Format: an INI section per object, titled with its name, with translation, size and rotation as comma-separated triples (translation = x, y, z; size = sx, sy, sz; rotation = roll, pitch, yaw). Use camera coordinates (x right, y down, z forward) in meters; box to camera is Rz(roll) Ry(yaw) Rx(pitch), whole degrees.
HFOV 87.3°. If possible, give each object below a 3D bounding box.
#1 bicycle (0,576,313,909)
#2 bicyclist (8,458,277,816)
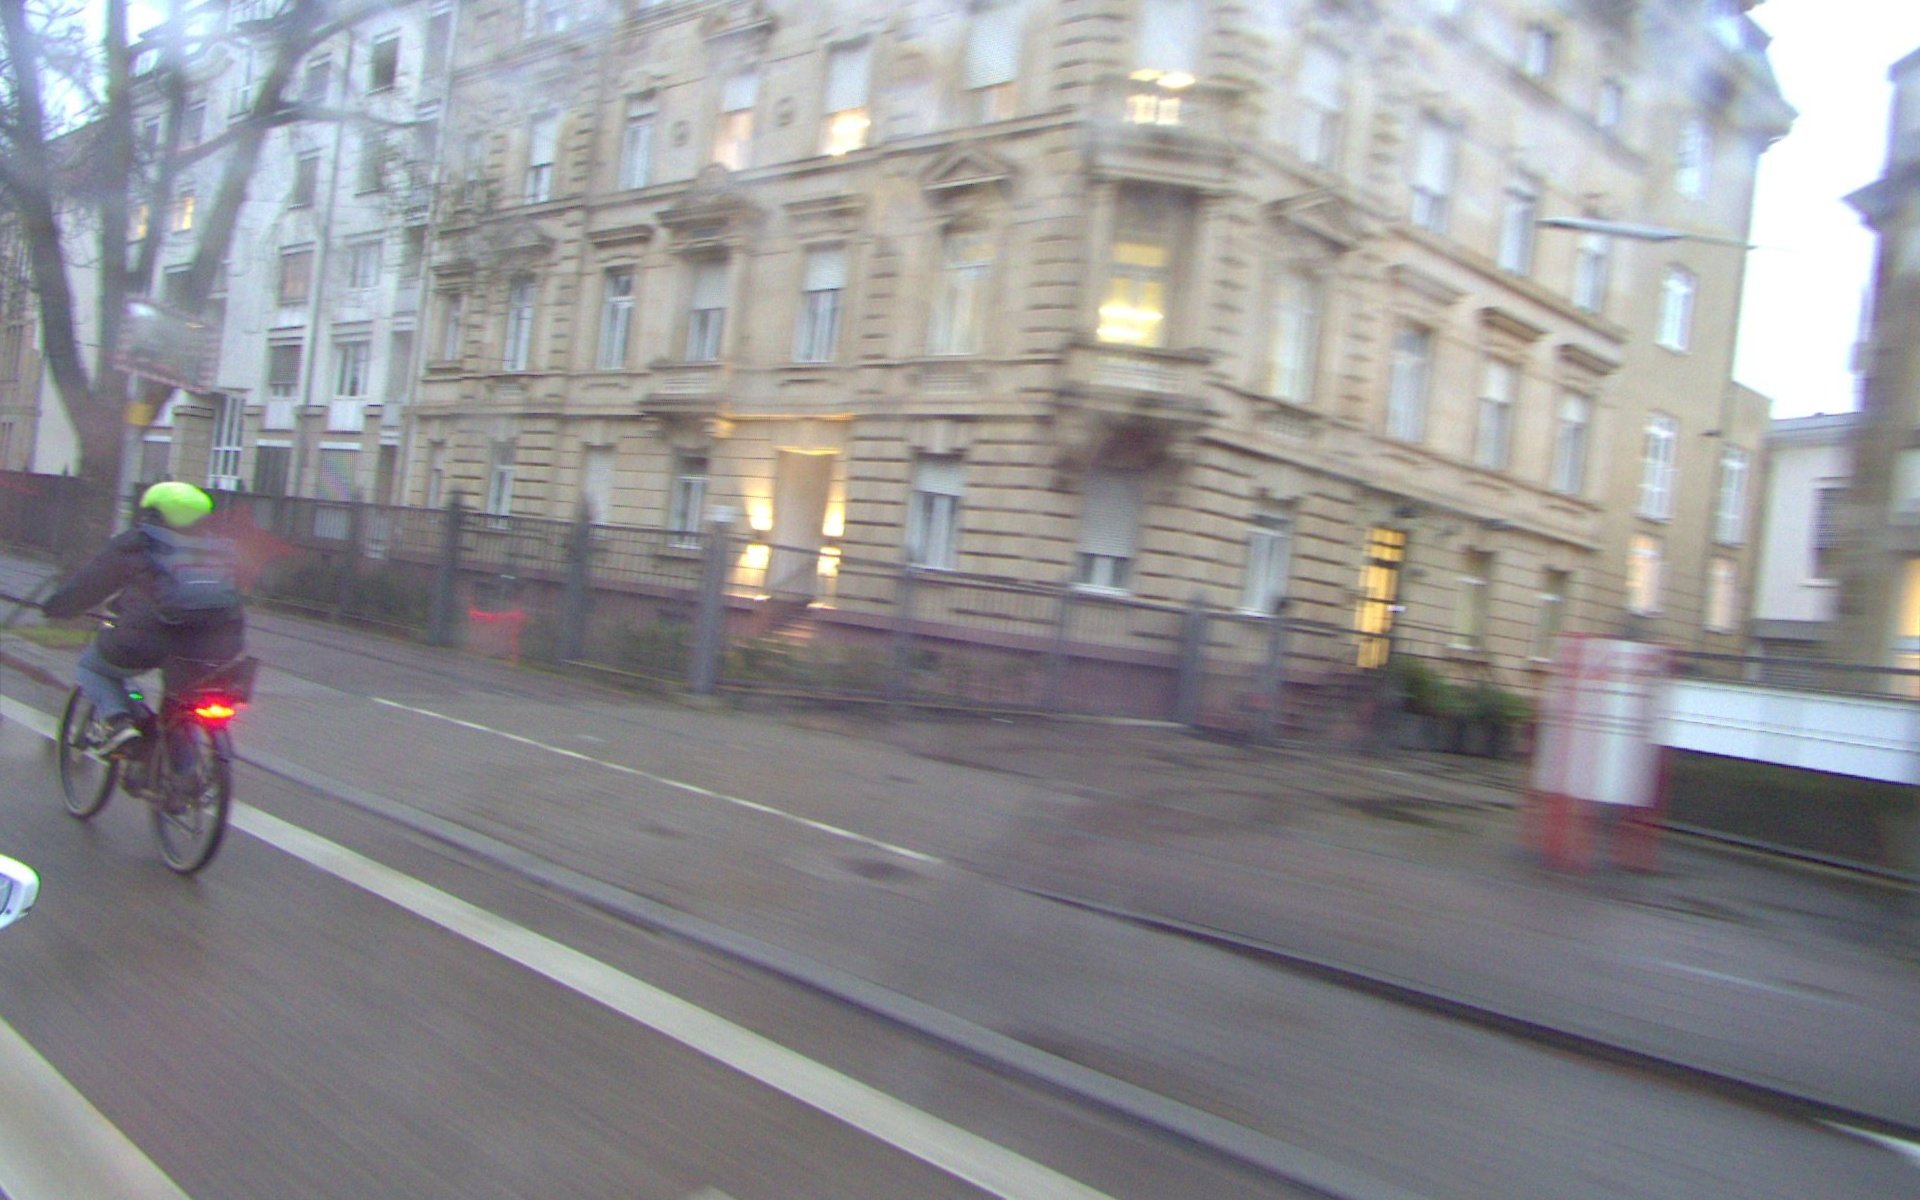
[bicycle]
translation = -3.935, 0.560, 4.734
size = 1.997, 1.110, 0.707
rotation = 8, 1, 35
[bicyclist]
translation = -3.783, 0.144, 4.655
size = 0.836, 1.464, 0.656
rotation = 8, 1, 35
